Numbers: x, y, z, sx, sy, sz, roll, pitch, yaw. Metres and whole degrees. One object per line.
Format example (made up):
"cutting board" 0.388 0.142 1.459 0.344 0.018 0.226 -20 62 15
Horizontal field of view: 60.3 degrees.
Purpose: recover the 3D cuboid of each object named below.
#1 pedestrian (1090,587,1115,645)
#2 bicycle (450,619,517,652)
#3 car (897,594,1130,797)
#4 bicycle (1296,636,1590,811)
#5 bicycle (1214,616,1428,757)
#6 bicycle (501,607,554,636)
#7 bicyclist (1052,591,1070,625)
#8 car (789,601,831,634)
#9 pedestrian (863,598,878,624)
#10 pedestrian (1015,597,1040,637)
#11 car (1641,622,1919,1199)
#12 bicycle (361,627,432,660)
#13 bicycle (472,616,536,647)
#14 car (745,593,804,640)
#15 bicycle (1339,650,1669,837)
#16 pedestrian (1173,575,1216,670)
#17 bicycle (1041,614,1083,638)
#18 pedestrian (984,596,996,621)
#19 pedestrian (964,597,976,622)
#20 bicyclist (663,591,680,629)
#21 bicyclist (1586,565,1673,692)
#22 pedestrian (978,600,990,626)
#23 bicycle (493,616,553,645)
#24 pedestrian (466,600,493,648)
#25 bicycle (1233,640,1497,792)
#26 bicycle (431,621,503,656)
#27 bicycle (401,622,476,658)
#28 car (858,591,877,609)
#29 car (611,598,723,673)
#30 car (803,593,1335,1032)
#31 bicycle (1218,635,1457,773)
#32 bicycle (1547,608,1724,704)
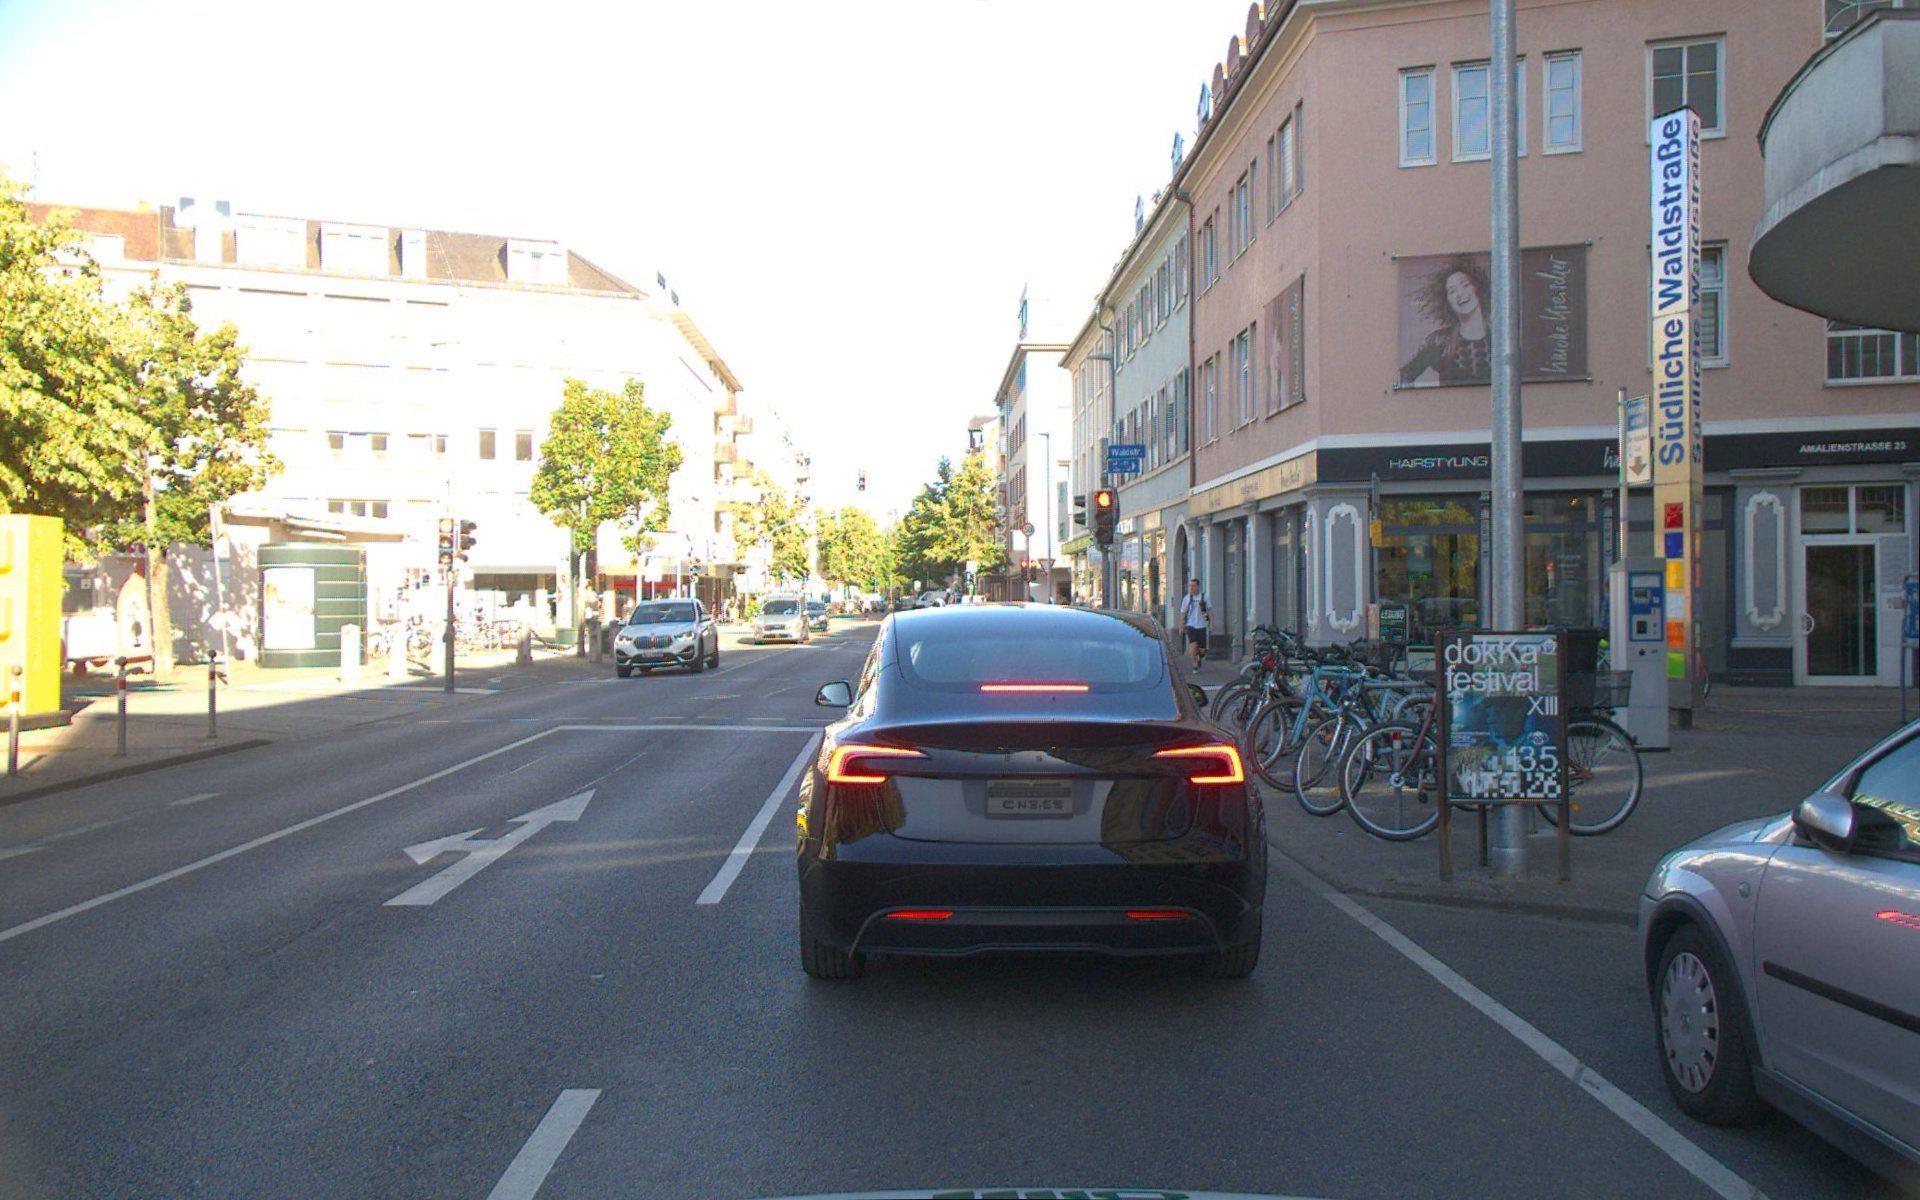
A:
"pedestrian" 4.340 0.481 50.354 0.692 1.773 0.540 0 0 -1
"bicycle" -14.257 1.061 49.522 1.826 0.950 0.606 1 0 -2
"car" 0.318 0.686 13.825 1.683 1.450 3.755 0 0 -2
"bicycle" 3.249 0.827 11.203 1.834 1.106 0.414 -2 -1 3
"bicycle" 3.207 0.766 14.796 1.789 1.189 0.506 -2 -1 5
"bicycle" -20.270 1.021 77.591 2.334 1.318 0.509 1 -1 -27
"bicyclist" 4.353 0.346 71.413 0.659 1.420 0.460 1 -1 -17
"car" -7.037 0.816 77.933 1.680 1.471 3.844 1 0 -1
"pedestrian" -5.923 0.728 108.948 0.708 1.725 0.843 0 0 -28
"pedestrian" 2.844 0.713 69.315 0.742 1.660 0.951 1 -1 -18
"car" 2.912 0.773 3.505 1.515 1.415 3.476 0 0 0
"bicycle" -14.446 1.110 42.402 1.612 0.806 0.606 1 0 -5
"bicycle" -14.326 0.987 51.958 1.826 0.950 0.606 0 0 -2
"car" -6.848 0.586 61.498 1.751 1.675 4.401 0 0 -1
"bicycle" 3.267 0.864 10.015 1.833 1.056 0.353 -2 -1 6
"pedestrian" 4.549 0.438 32.118 0.735 1.796 0.837 -1 -1 3
"bicycle" 4.393 1.110 71.424 1.756 1.024 0.469 1 -1 -17
"pedestrian" 1.744 0.489 95.843 0.516 1.447 0.474 1 -1 -31
"pedestrian" 0.563 0.530 95.724 0.467 1.442 0.516 1 -1 -32
"bicyclist" -11.499 0.392 65.921 0.516 1.530 0.472 1 -1 -25
"bicyclist" 8.150 0.337 20.152 0.871 1.508 0.702 0 0 12
"pedestrian" 1.363 0.742 95.127 0.516 1.447 0.474 1 -1 -31
"bicycle" -14.362 0.996 54.406 1.826 0.950 0.606 0 0 -2
"pedestrian" -20.986 1.033 72.264 1.041 2.049 1.049 1 -1 -20
"bicycle" 3.030 0.863 12.469 1.834 1.056 0.533 -2 -1 3
"bicycle" -14.020 1.085 47.052 1.826 0.950 0.606 1 0 -2
"bicycle" -14.176 1.086 44.987 1.826 0.950 0.606 0 0 -2
"car" -10.399 0.017 186.279 1.953 2.049 3.999 1 0 -1
"car" -6.312 0.741 36.012 1.752 1.485 3.756 -2 0 -1
"car" 0.341 0.722 7.552 1.785 1.467 3.999 0 0 -1
"bicycle" 3.097 0.847 13.671 1.833 1.056 0.548 -2 -1 5
"bicycle" 8.197 0.667 20.130 1.892 1.137 0.709 0 -1 12
